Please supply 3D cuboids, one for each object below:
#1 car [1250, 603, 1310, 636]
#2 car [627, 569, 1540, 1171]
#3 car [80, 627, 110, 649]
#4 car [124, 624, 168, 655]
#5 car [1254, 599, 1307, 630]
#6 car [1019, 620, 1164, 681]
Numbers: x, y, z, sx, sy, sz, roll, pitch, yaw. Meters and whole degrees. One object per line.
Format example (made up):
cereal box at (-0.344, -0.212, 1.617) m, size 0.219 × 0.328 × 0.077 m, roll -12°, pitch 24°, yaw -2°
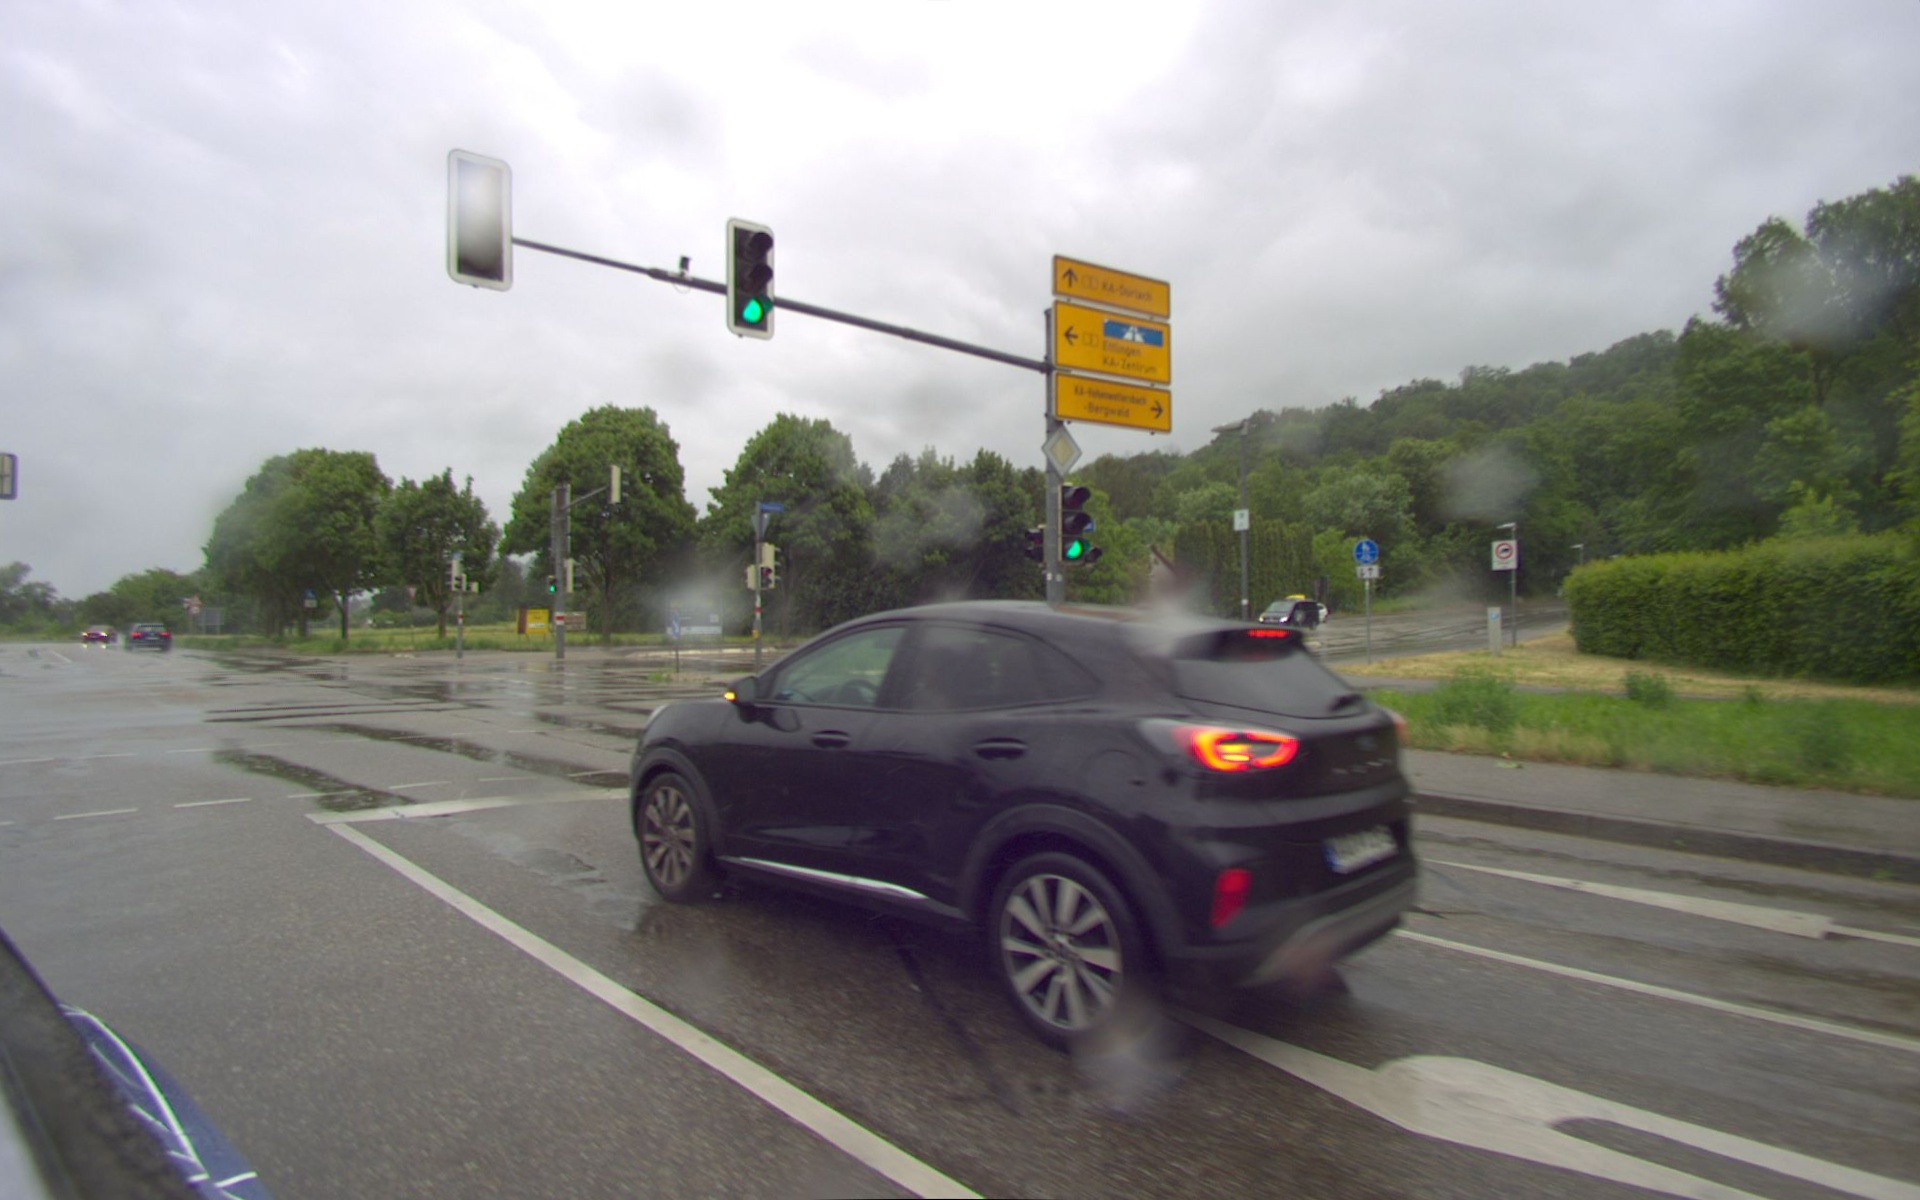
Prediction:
car at (19.291, 1.151, 60.890) m, size 1.956 × 1.892 × 4.298 m, roll -1°, pitch 0°, yaw 41°
car at (0.233, 0.725, 4.609) m, size 3.878 × 1.549 × 1.742 m, roll -1°, pitch -1°, yaw 44°
car at (-85.223, 3.763, 99.789) m, size 1.890 × 2.029 × 4.010 m, roll -1°, pitch 0°, yaw -36°
car at (-43.744, 2.116, 54.367) m, size 1.594 × 1.530 × 3.659 m, roll -1°, pitch 0°, yaw -43°
car at (22.120, 0.980, 69.769) m, size 1.999 × 2.029 × 4.298 m, roll -1°, pitch 0°, yaw 41°
car at (3.710, 1.350, 28.189) m, size 3.939 × 1.530 × 2.002 m, roll 1°, pitch -1°, yaw -43°
